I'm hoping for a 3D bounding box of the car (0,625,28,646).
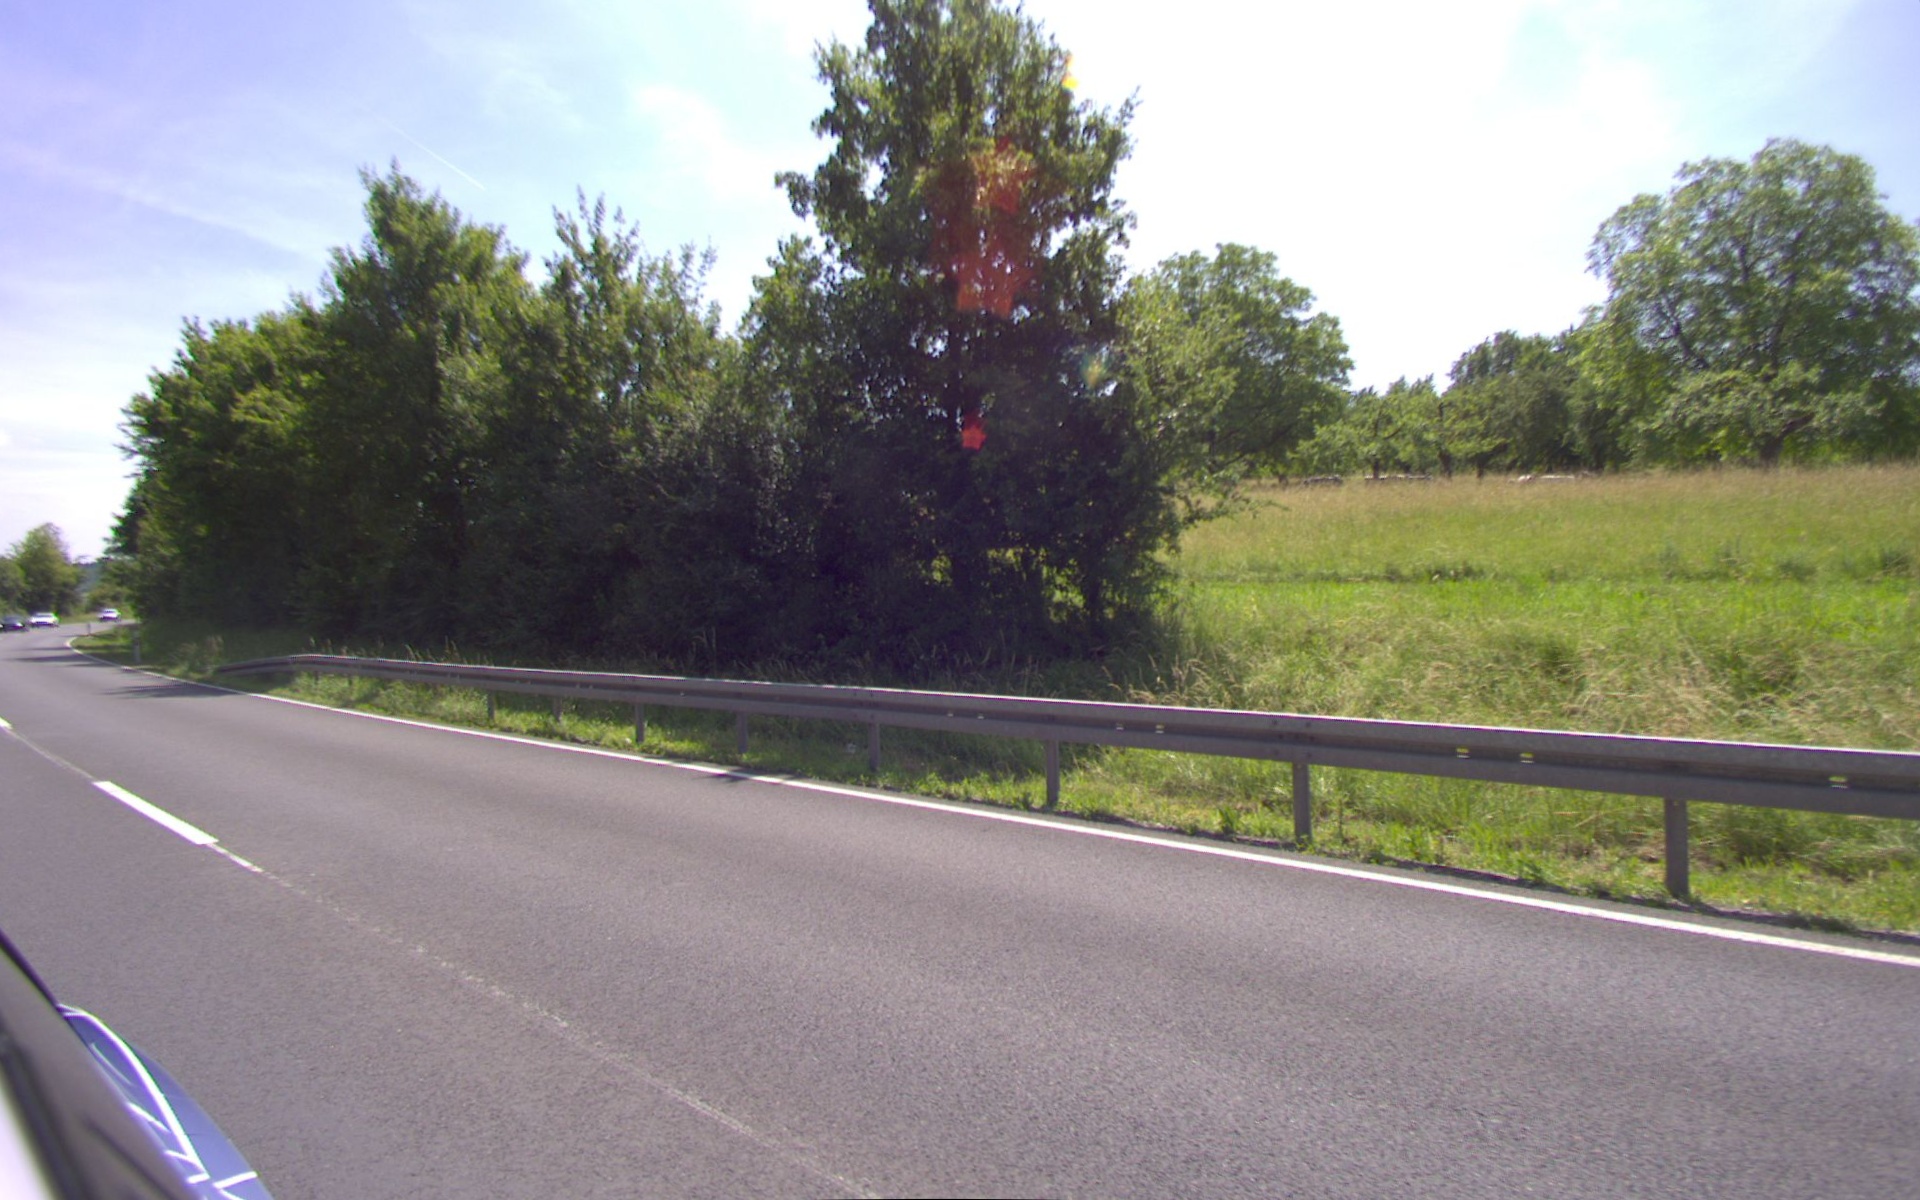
[{"bbox_3d":[-82.650,3.076,87.954,1.854,1.721,4.009,0,-2,-35],"label":"car"}]

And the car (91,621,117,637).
[{"bbox_3d":[-112.921,3.749,133.537,1.966,2.029,4.012,-1,-1,-30],"label":"car"}]

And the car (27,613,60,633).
[{"bbox_3d":[-95.921,2.372,105.956,1.966,2.029,4.011,0,-2,-33],"label":"car"}]
